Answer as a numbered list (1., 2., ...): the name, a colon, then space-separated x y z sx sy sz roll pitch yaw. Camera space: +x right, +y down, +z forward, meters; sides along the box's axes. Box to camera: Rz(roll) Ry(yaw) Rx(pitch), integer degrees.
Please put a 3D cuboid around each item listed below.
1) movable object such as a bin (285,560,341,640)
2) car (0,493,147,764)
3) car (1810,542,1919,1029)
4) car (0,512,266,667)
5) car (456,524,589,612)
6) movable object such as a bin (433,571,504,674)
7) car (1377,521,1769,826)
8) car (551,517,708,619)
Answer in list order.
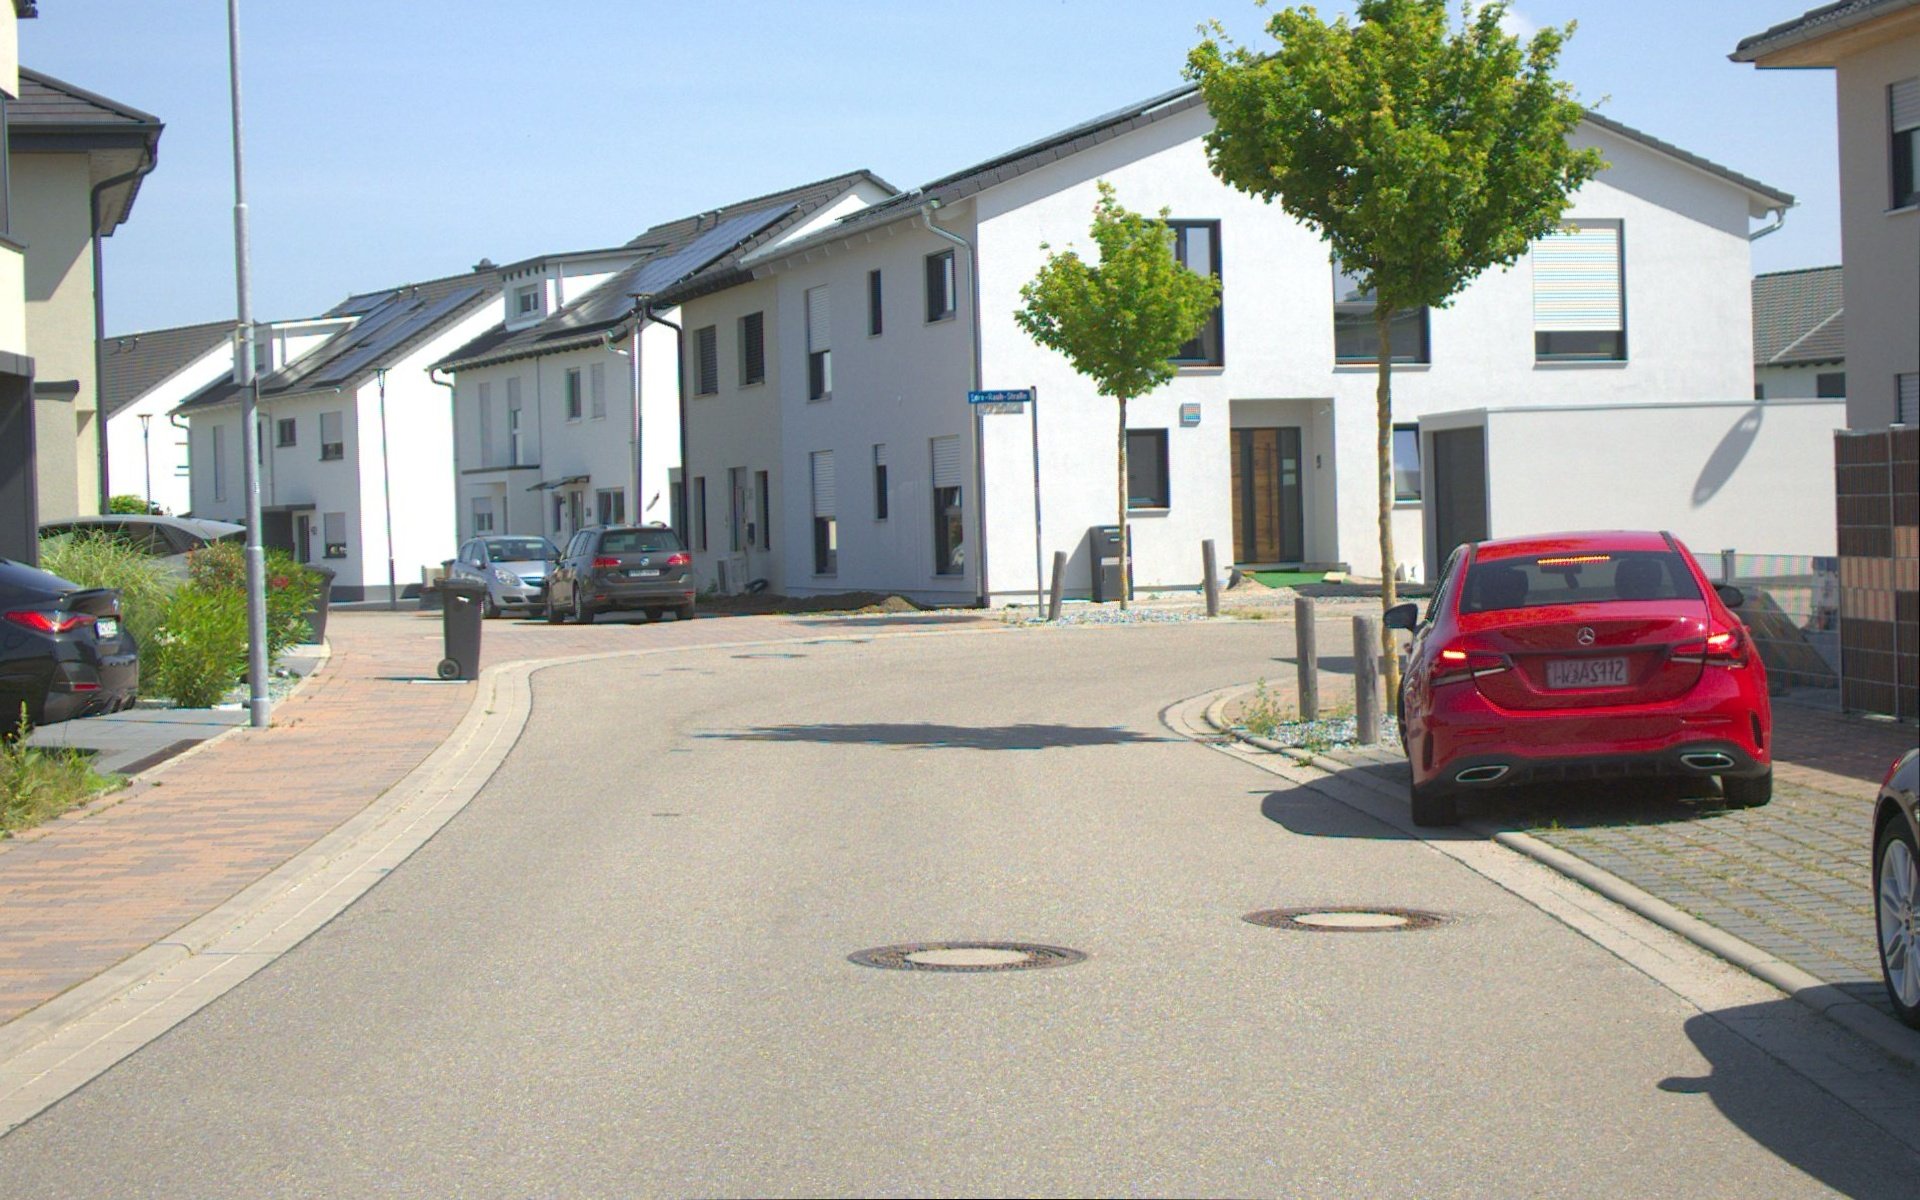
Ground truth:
1. movable object such as a bin: -7.581 0.001 40.285 0.614 0.924 0.423 1 0 -13
2. car: -7.478 0.118 21.517 4.375 1.626 1.771 1 1 -2
3. car: 3.567 0.538 8.568 1.754 1.358 4.576 -2 1 0
4. car: -9.144 -0.109 34.490 3.987 1.481 1.754 -1 1 -1
5. car: -7.827 -0.578 61.230 1.676 1.459 3.946 -2 1 -17
6. movable object such as a bin: -4.567 0.203 31.960 0.535 0.932 0.526 0 1 7
7. car: 3.185 0.298 18.599 1.763 1.433 4.519 0 1 6
8. car: -5.010 -0.497 51.693 1.726 1.418 4.001 -2 1 -14
